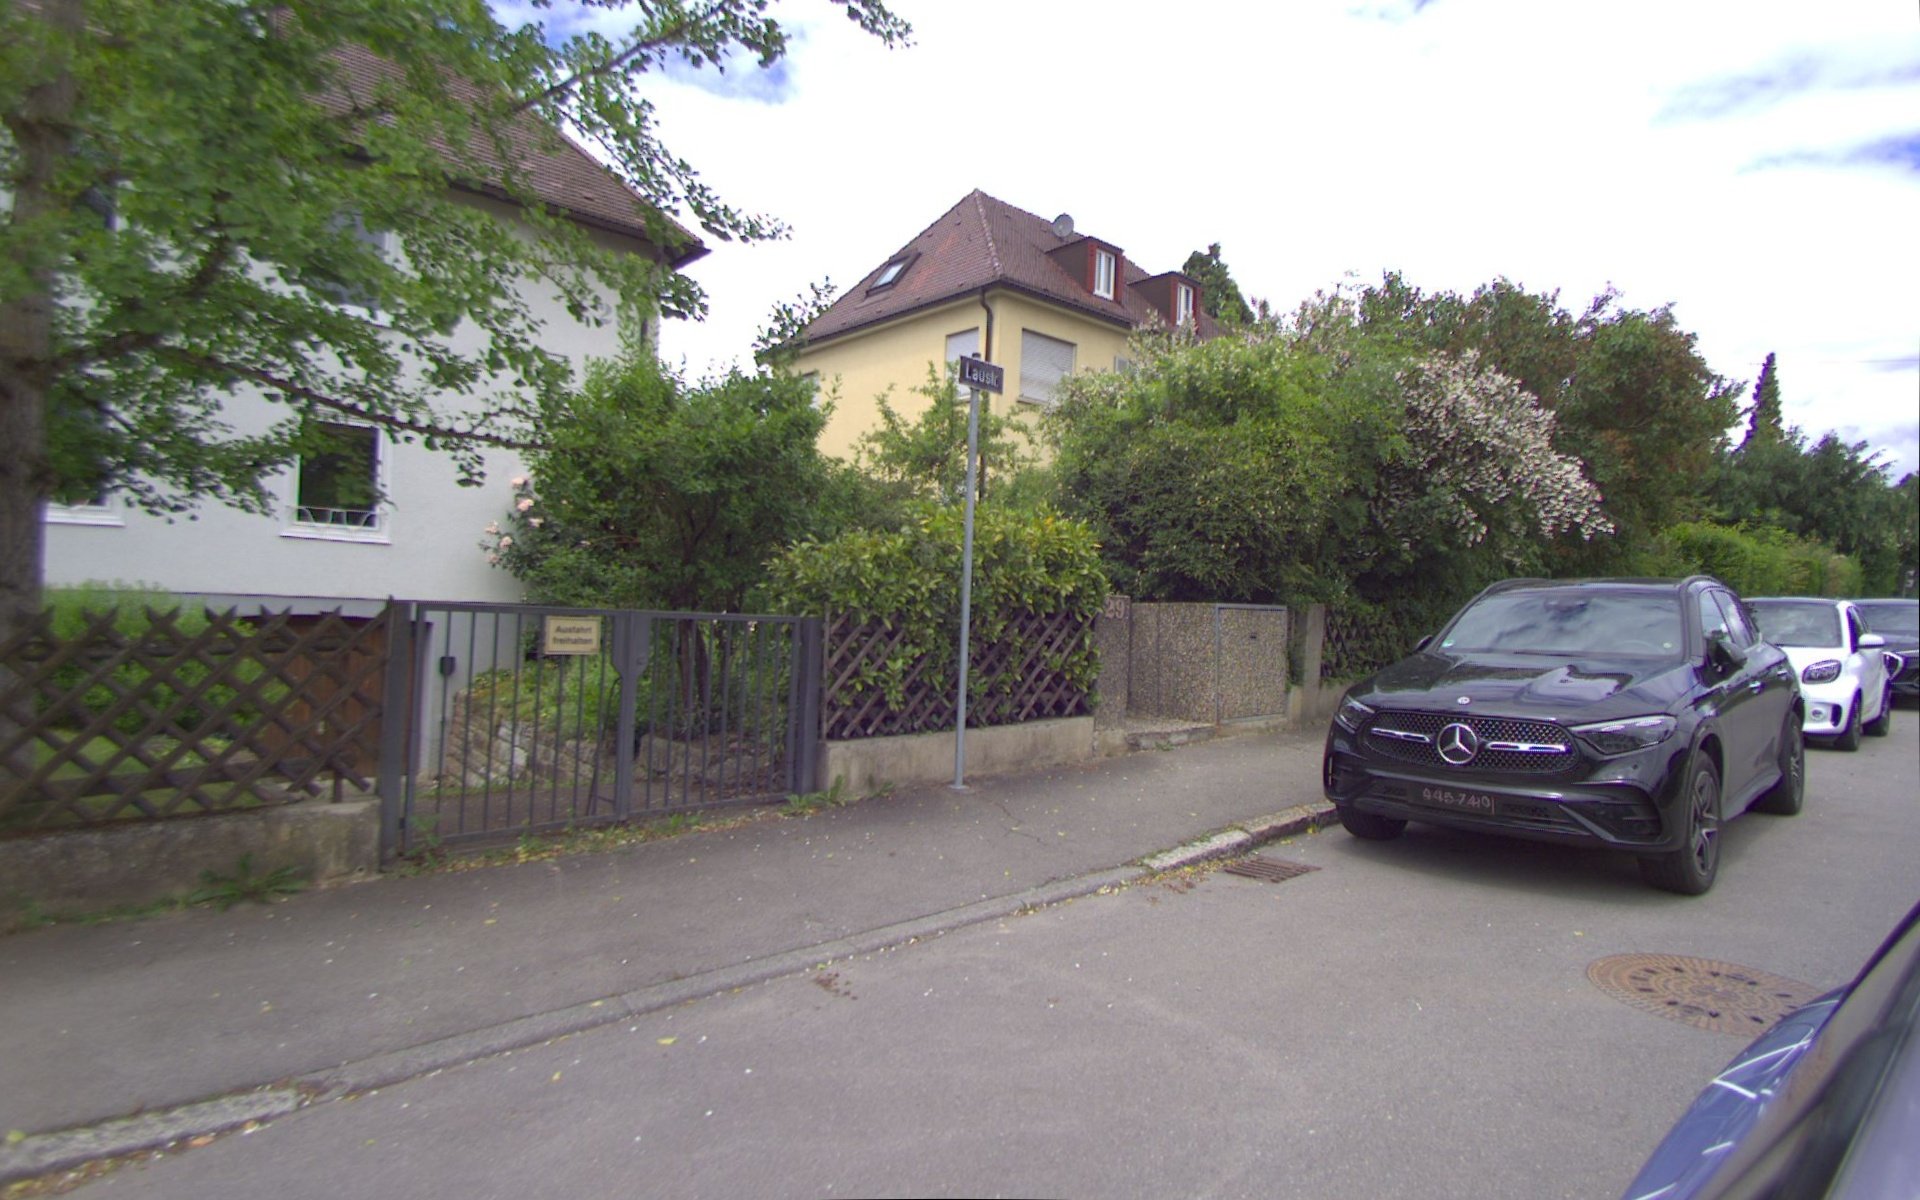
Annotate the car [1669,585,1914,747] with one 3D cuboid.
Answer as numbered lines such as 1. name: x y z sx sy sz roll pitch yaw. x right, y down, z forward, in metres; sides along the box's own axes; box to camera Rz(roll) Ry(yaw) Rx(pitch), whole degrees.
1. car: 9.368 0.651 11.352 2.959 1.529 1.602 1 1 -40

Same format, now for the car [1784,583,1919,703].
1. car: 14.365 0.595 15.583 4.066 1.612 1.805 0 1 -39

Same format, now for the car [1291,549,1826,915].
1. car: 4.191 0.577 6.749 4.302 1.647 1.952 0 0 -43

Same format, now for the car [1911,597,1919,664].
1. car: 23.080 0.721 23.147 4.072 1.478 1.718 1 1 -44
